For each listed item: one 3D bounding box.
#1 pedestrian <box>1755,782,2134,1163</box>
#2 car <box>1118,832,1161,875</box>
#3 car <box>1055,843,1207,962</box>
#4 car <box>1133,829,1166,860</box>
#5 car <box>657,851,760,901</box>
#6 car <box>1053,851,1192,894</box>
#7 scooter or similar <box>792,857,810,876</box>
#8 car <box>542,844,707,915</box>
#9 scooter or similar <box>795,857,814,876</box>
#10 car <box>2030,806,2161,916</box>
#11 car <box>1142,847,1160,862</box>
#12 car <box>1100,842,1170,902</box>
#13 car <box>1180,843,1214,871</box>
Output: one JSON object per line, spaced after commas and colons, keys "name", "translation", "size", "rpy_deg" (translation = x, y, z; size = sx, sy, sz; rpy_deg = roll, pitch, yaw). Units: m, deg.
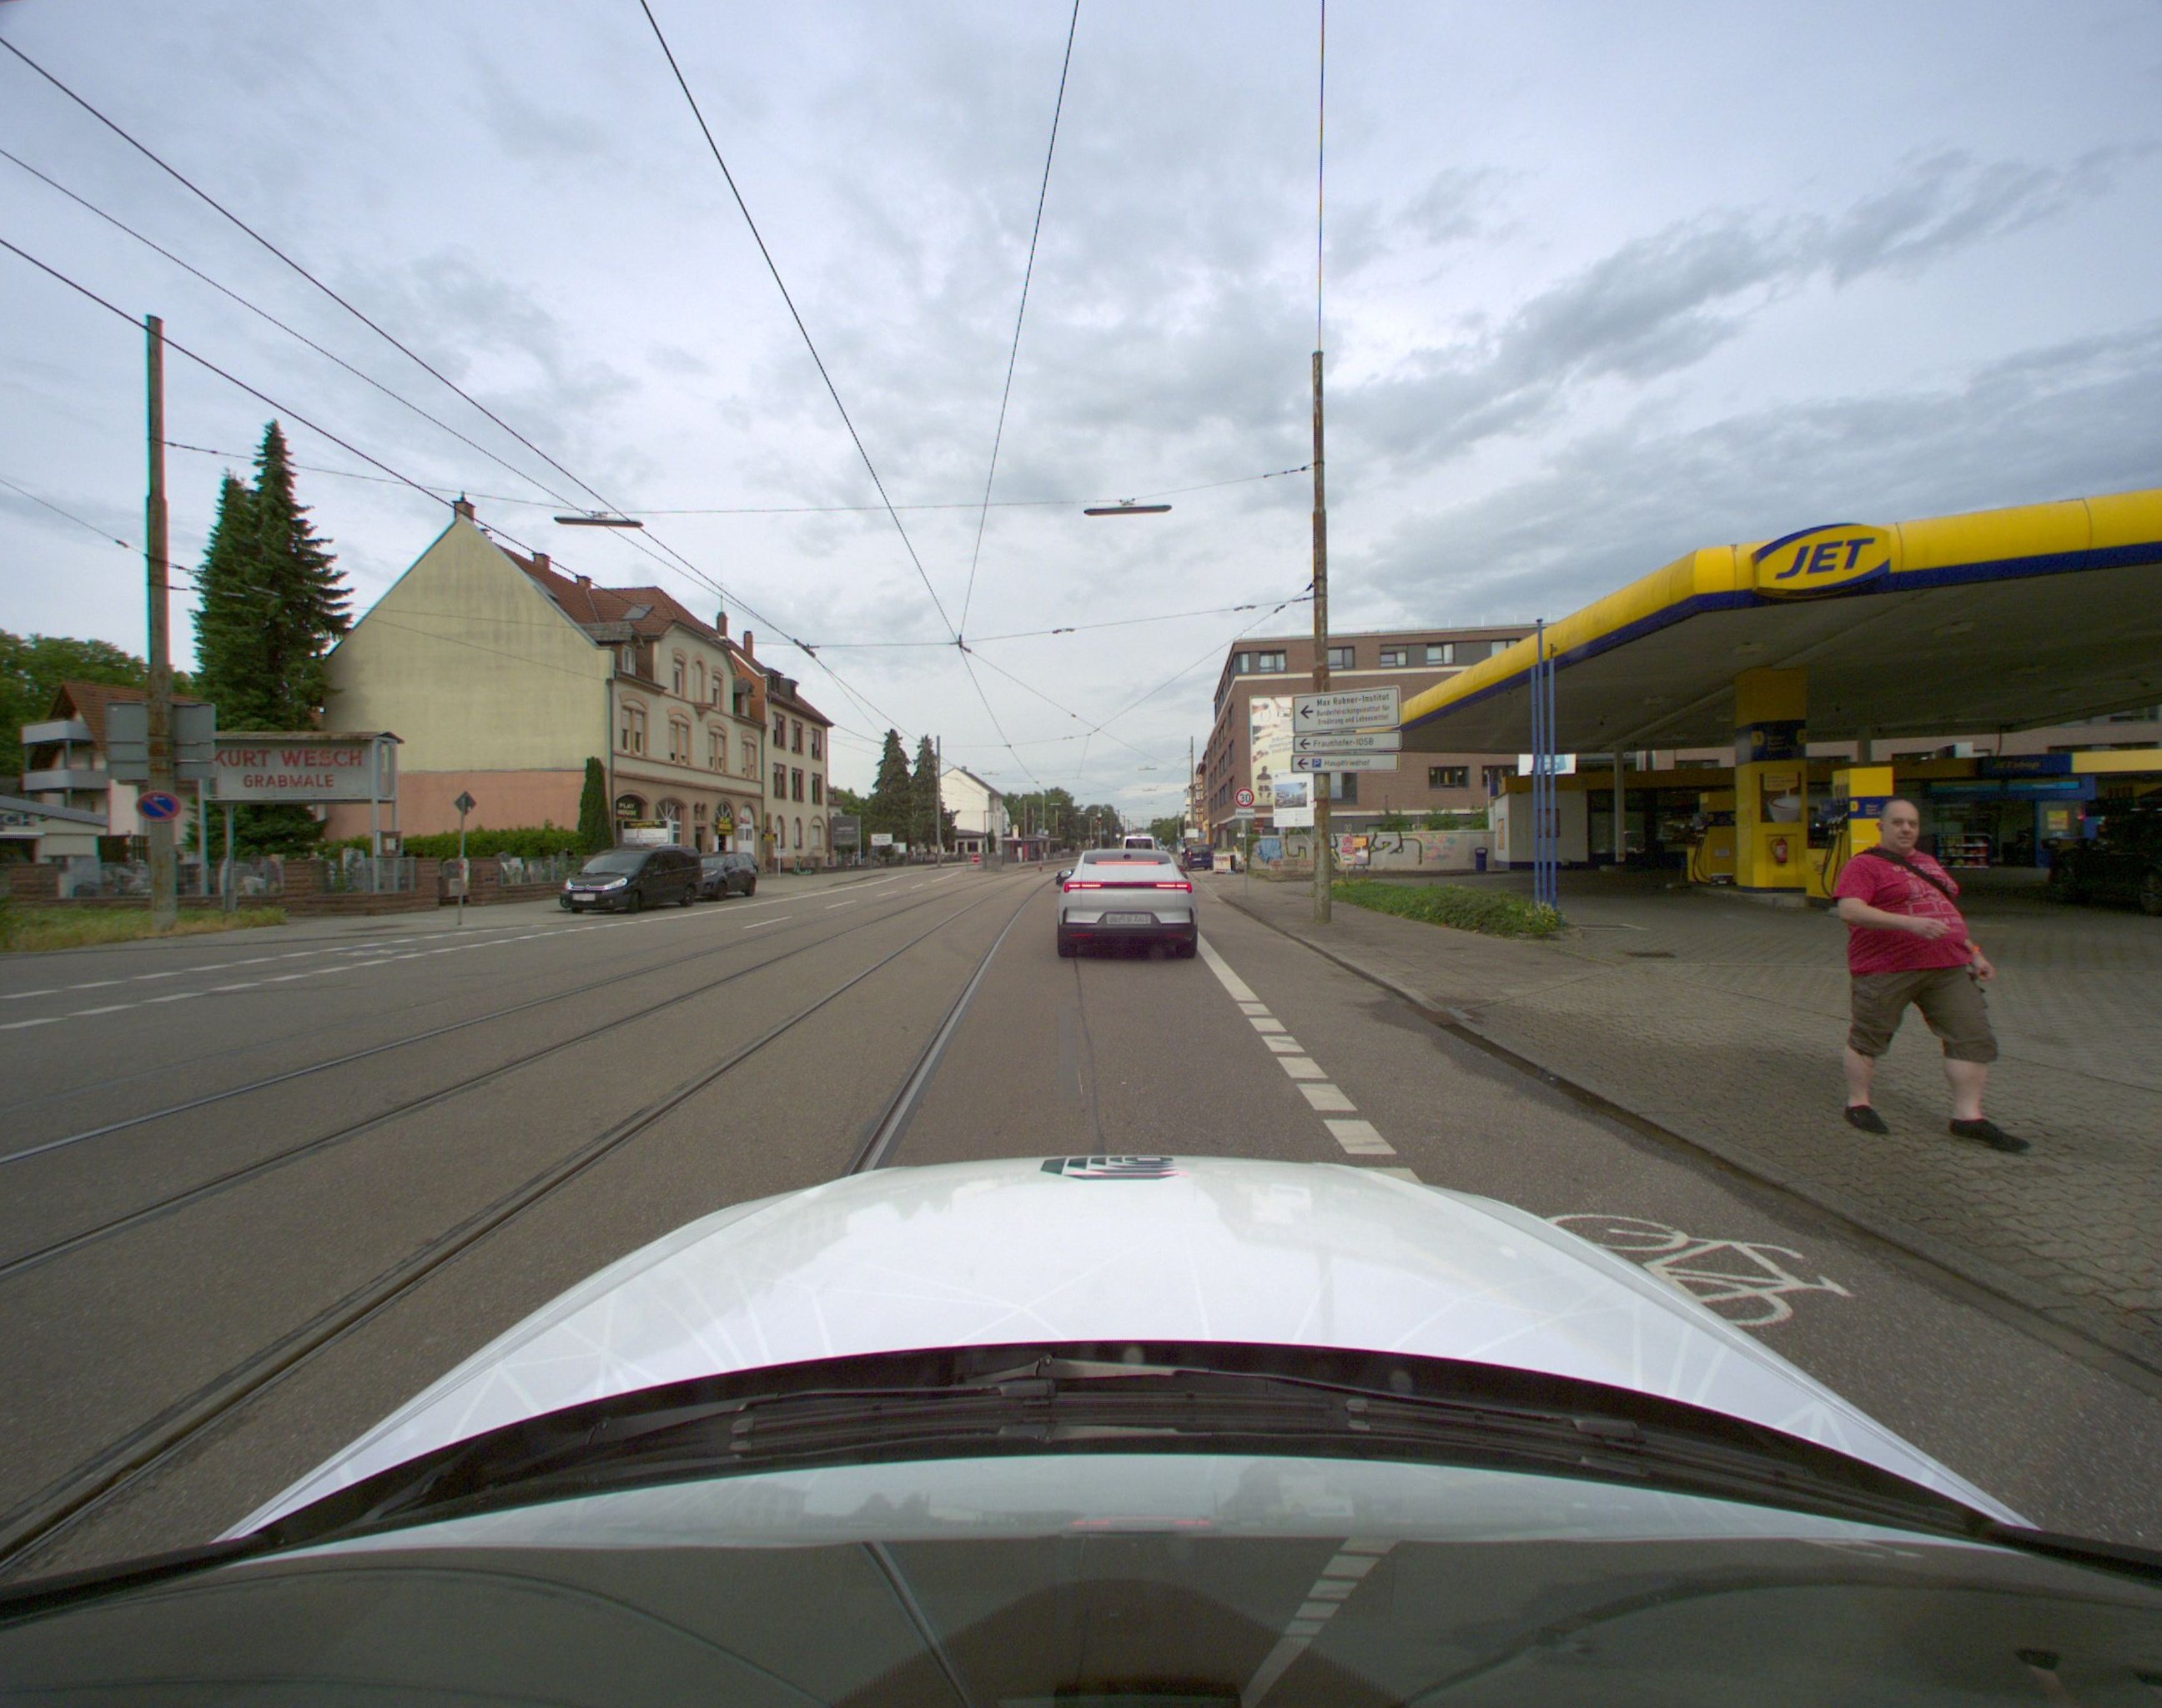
{"name": "pedestrian", "translation": [4.407, 0.558, 4.252], "size": [0.968, 1.738, 0.861], "rpy_deg": [-3, -1, 1]}
{"name": "car", "translation": [3.404, -0.018, 48.449], "size": [2.209, 2.423, 4.951], "rpy_deg": [0, 0, 0]}
{"name": "car", "translation": [0.601, 0.633, 12.758], "size": [1.976, 1.550, 4.180], "rpy_deg": [0, 0, -2]}
{"name": "car", "translation": [4.991, -0.644, 60.116], "size": [2.131, 2.145, 4.744], "rpy_deg": [0, 0, 1]}
{"name": "car", "translation": [-13.615, 0.769, 30.083], "size": [1.838, 1.718, 4.192], "rpy_deg": [0, 0, 0]}
{"name": "car", "translation": [1.456, 0.648, 29.855], "size": [4.863, 1.427, 1.949], "rpy_deg": [-1, 0, -6]}
{"name": "scooter or similar", "translation": [-17.500, 0.757, 50.911], "size": [1.056, 1.188, 0.315], "rpy_deg": [1, -1, -34]}
{"name": "car", "translation": [-13.388, 0.692, 24.325], "size": [1.985, 1.887, 4.999], "rpy_deg": [0, 0, 1]}
{"name": "scooter or similar", "translation": [-17.118, 0.755, 50.455], "size": [1.056, 1.188, 0.315], "rpy_deg": [1, -1, -34]}
{"name": "car", "translation": [16.916, 0.018, 12.424], "size": [1.971, 1.497, 4.354], "rpy_deg": [-2, 1, 33]}
{"name": "car", "translation": [9.968, 0.053, 115.965], "size": [1.988, 2.014, 3.997], "rpy_deg": [0, 0, -2]}
{"name": "car", "translation": [1.669, 0.550, 26.315], "size": [1.962, 1.756, 3.837], "rpy_deg": [0, 0, 0]}
{"name": "car", "translation": [8.064, 0.207, 56.915], "size": [1.868, 1.823, 4.097], "rpy_deg": [0, 0, 1]}
